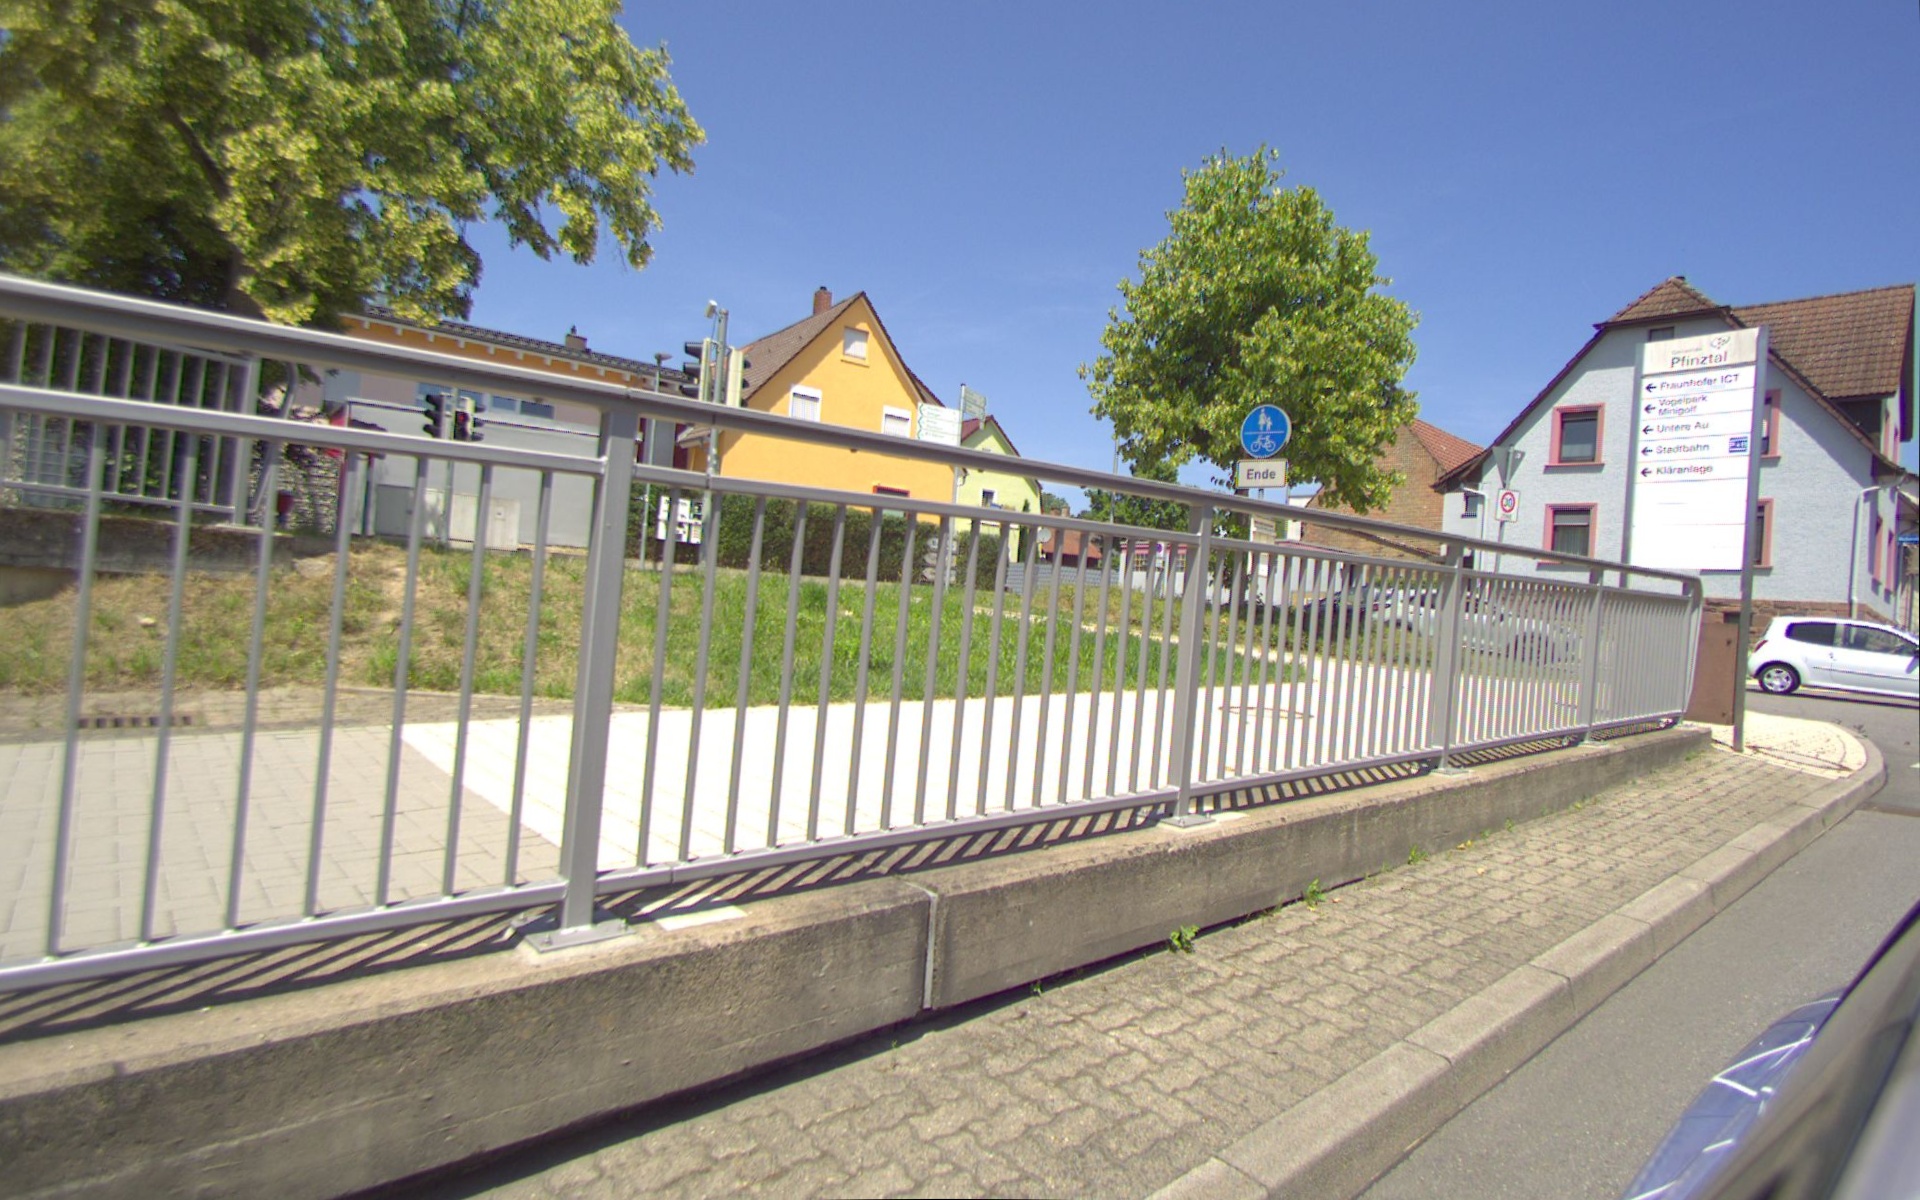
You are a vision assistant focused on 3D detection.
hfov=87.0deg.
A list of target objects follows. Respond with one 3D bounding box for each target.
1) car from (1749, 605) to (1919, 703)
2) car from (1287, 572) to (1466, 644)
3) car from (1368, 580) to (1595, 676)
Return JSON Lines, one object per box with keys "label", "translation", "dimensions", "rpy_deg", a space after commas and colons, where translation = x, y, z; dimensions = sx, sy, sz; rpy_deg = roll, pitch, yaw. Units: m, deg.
{"label": "car", "translation": [16.348, 0.978, 17.825], "dimensions": [3.671, 1.497, 1.748], "rpy_deg": [5, 2, 43]}
{"label": "car", "translation": [10.937, 0.220, 26.884], "dimensions": [4.098, 1.609, 1.860], "rpy_deg": [3, -1, 15]}
{"label": "car", "translation": [11.175, 0.547, 21.882], "dimensions": [4.092, 1.554, 1.757], "rpy_deg": [6, 2, 29]}
